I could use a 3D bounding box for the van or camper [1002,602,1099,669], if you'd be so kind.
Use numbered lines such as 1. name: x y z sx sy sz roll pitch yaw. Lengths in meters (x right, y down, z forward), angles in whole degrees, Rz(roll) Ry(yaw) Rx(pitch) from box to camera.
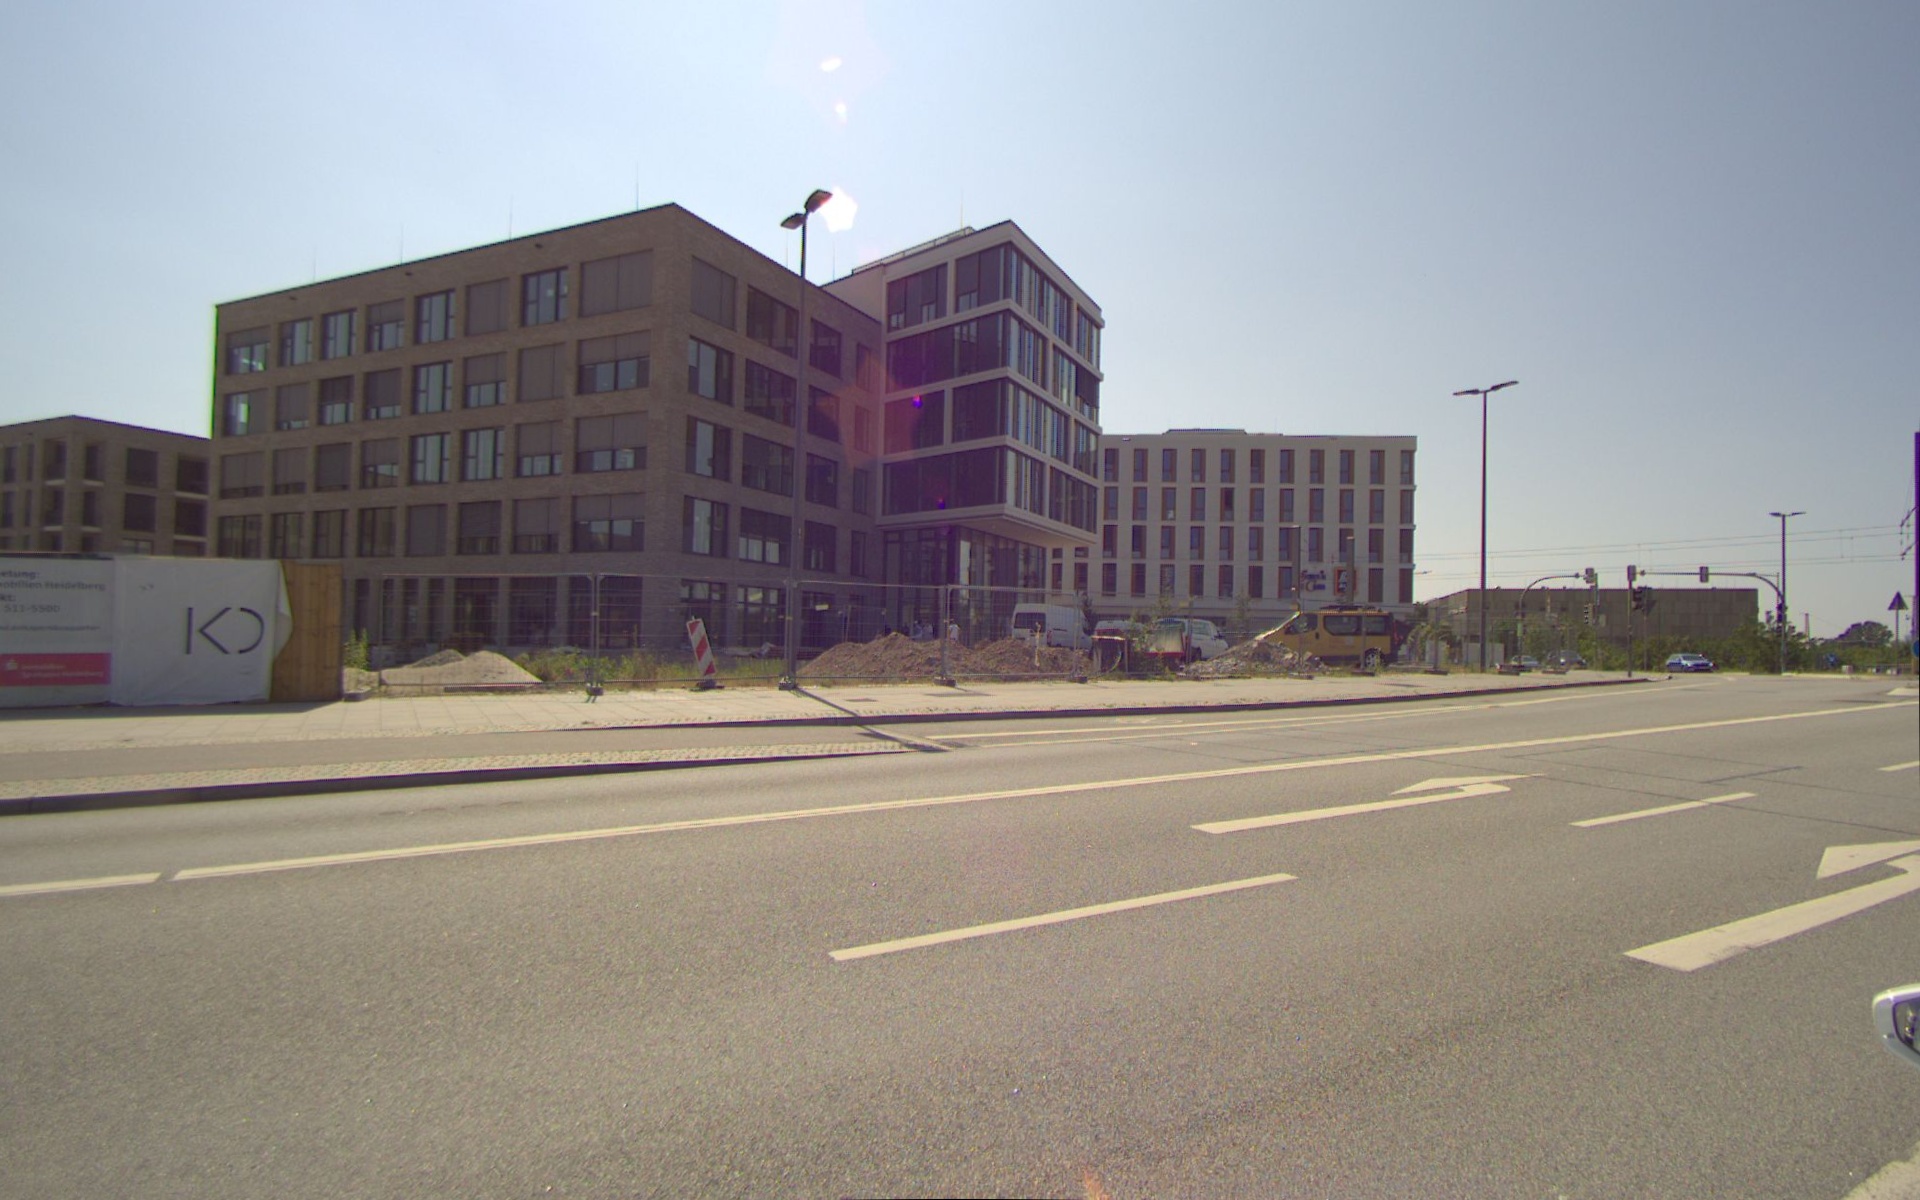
1. van or camper: 4.126 1.549 45.067 2.273 2.772 4.975 2 0 32

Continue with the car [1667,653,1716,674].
1. car: 52.286 4.514 71.857 1.787 1.348 4.000 2 -2 20

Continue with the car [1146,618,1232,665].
1. car: 9.668 1.687 42.176 1.841 1.797 4.637 2 0 36

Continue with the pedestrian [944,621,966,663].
1. pedestrian: -0.226 1.812 43.585 0.734 1.741 0.699 2 0 16

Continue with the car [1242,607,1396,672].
1. car: 11.961 1.291 33.779 4.533 1.988 1.991 2 0 9

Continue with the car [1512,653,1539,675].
1. car: 46.694 5.237 82.951 1.541 1.608 3.477 2 0 23

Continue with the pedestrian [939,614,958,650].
1. pedestrian: -0.567 1.552 48.948 0.734 1.741 0.699 2 0 16

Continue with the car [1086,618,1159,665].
1. car: 7.104 1.758 43.703 1.760 1.881 3.842 2 0 32

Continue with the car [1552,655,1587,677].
1. car: 44.400 4.790 73.216 1.646 1.496 3.405 0 -1 22

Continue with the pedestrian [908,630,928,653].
1. pedestrian: -1.990 1.931 47.404 0.734 1.041 0.699 2 0 16
